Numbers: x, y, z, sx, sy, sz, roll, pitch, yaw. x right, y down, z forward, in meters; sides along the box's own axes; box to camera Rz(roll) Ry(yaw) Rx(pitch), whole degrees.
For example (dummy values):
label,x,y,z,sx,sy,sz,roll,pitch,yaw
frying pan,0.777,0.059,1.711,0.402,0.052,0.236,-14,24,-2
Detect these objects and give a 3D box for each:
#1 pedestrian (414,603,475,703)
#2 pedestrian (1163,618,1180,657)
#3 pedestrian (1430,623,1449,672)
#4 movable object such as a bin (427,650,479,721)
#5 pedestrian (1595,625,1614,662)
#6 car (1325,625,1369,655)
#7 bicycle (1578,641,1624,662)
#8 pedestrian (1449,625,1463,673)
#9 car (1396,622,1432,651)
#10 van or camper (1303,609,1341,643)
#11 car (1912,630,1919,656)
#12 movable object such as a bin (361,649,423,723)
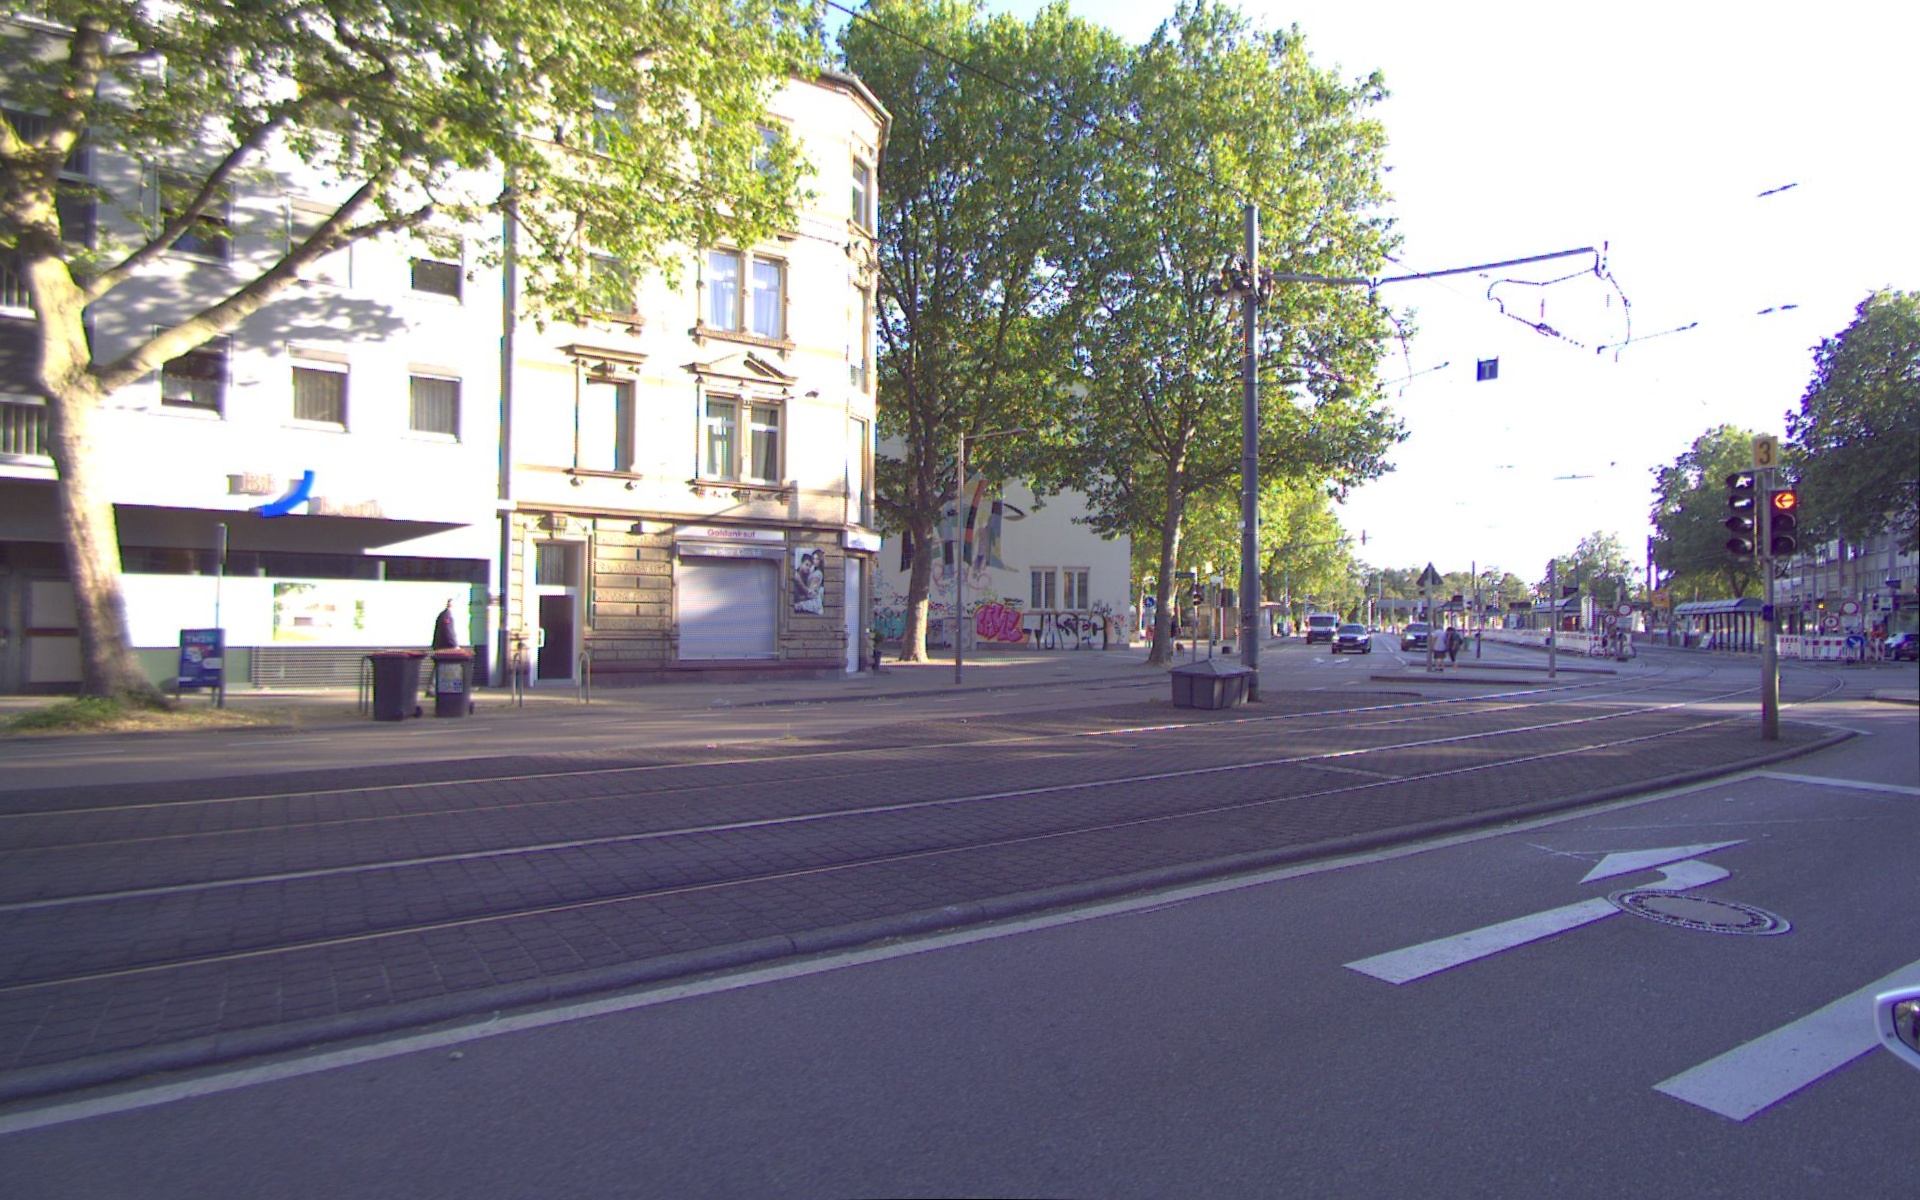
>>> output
label,x,y,z,sx,sy,sz,roll,pitch,yaw
pedestrian,-9.646,0.983,18.808,0.958,1.811,0.616,1,1,-28
pedestrian,9.663,1.722,45.820,0.663,1.733,0.432,2,1,4
pedestrian,15.364,1.518,32.188,0.512,1.524,0.593,0,-1,29
movable object such as a bin,-8.134,1.355,16.120,0.562,1.108,0.477,0,-1,8
pedestrian,30.792,2.090,47.993,0.708,1.748,0.399,0,-1,22
car,20.722,2.091,53.694,1.857,1.492,4.203,0,-1,26
bicycle,30.914,2.476,48.427,1.810,0.955,0.463,0,-1,22
pedestrian,15.935,1.564,32.273,0.402,1.524,0.516,0,-1,29
car,26.374,2.109,58.386,1.856,1.606,4.204,0,-1,24
van or camper,26.987,1.953,74.785,2.133,2.349,5.100,-2,-2,24
car,55.352,2.400,56.388,1.636,1.488,3.410,-3,-2,25
movable object such as a bin,-8.779,1.322,15.534,0.634,1.108,0.546,0,-1,8
